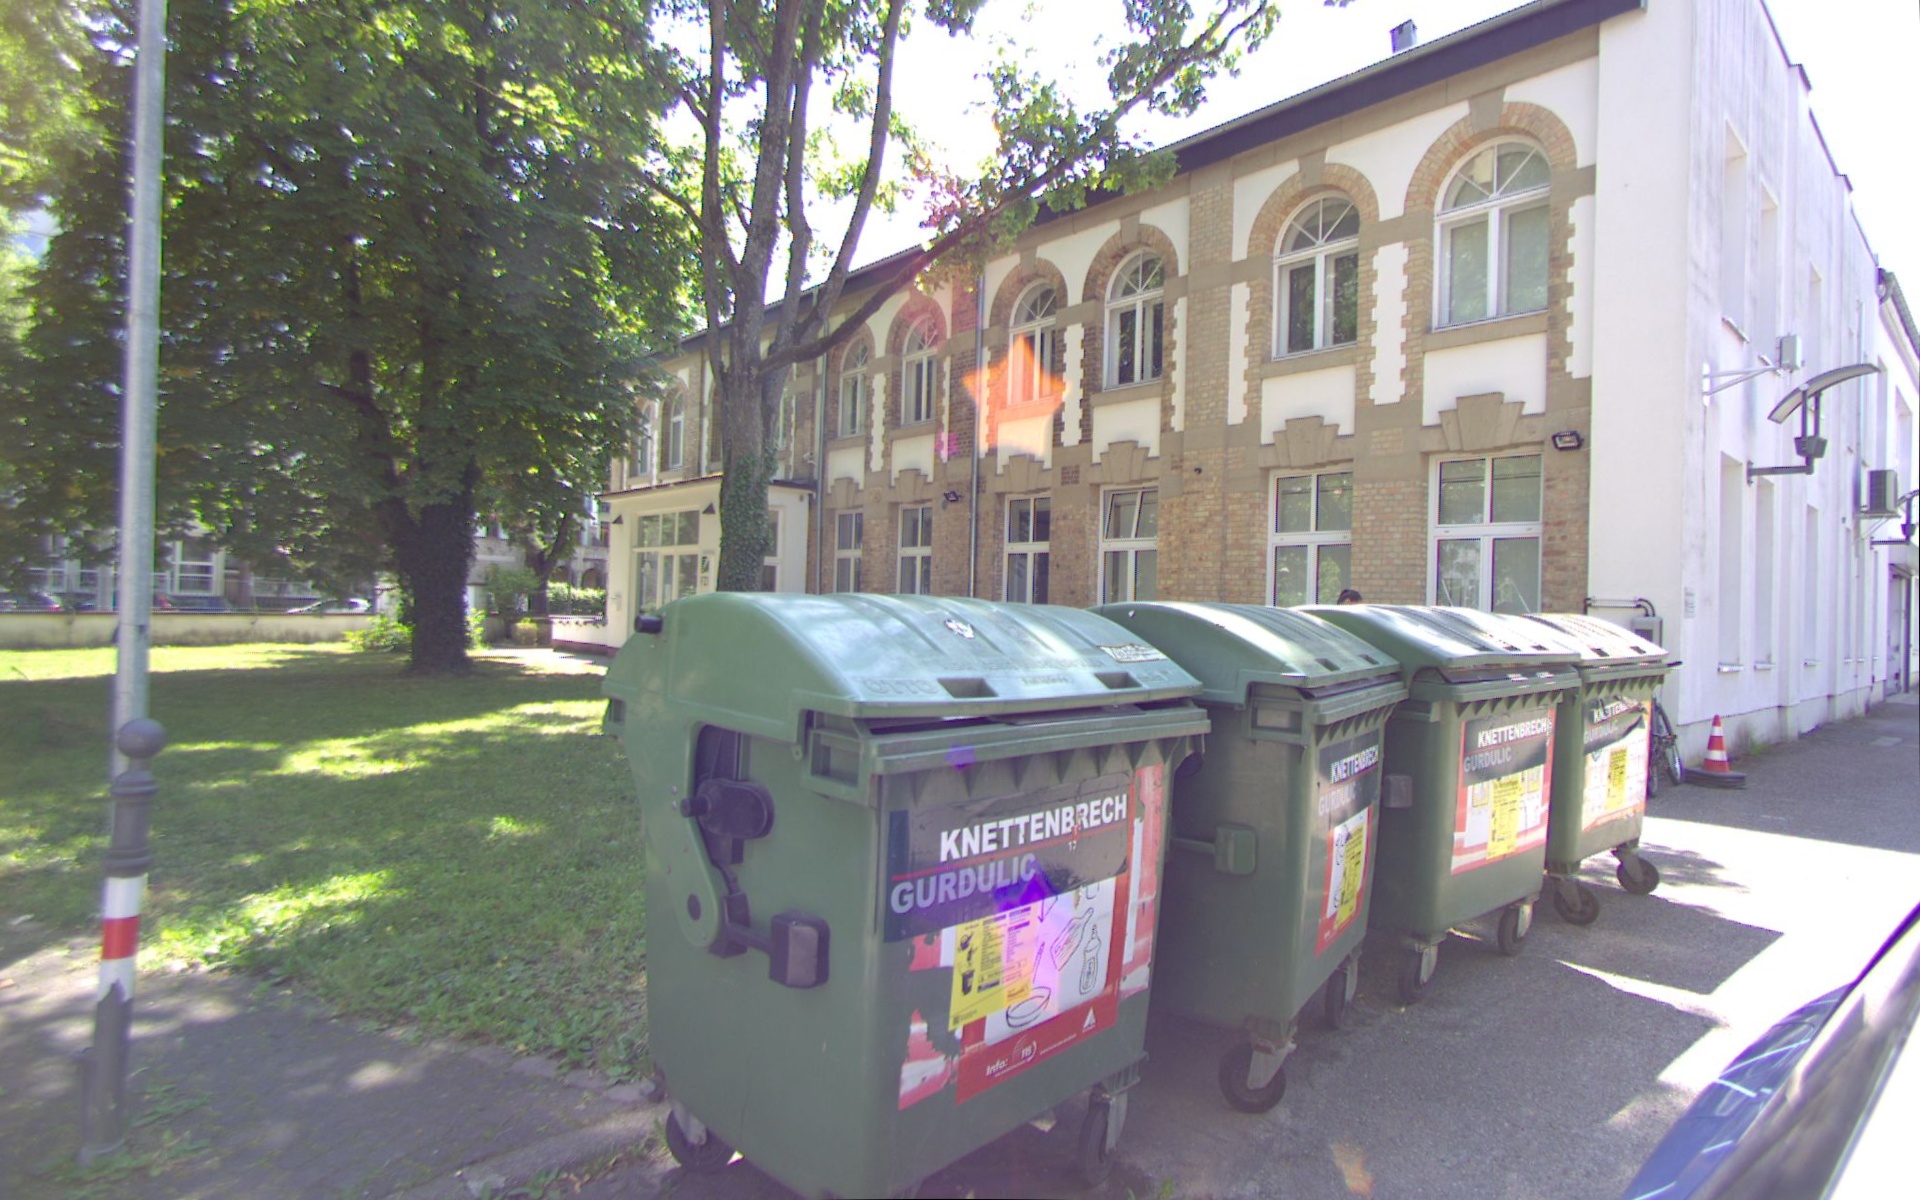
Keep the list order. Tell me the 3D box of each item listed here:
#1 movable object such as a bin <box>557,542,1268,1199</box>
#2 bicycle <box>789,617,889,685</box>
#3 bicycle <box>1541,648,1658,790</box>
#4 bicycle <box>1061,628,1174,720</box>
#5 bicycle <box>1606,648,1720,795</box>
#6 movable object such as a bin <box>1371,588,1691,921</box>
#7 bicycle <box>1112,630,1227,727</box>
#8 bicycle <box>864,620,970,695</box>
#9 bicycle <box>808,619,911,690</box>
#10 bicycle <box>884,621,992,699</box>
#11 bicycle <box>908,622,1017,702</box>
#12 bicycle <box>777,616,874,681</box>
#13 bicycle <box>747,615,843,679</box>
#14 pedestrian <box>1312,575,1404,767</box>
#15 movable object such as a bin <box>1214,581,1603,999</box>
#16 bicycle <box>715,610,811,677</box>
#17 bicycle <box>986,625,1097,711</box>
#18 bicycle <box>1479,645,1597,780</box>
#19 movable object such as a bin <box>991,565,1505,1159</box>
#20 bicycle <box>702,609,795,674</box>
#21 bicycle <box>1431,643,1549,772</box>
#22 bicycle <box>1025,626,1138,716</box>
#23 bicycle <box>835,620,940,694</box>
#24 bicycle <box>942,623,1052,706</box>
[{"bbox_3d":[-0.101,0.647,2.485,1.353,1.476,1.077,1,0,-41],"label":"movable object such as a bin"},{"bbox_3d":[-2.083,0.862,17.618,1.795,1.115,0.405,1,0,-42],"label":"bicycle"},{"bbox_3d":[5.761,1.012,9.077,1.795,1.115,0.405,1,0,-42],"label":"bicycle"},{"bbox_3d":[2.077,0.930,13.206,1.795,1.115,0.405,1,0,-42],"label":"bicycle"},{"bbox_3d":[6.108,0.997,8.757,1.795,1.115,0.405,1,0,-42],"label":"bicycle"},{"bbox_3d":[3.037,0.694,5.371,1.353,1.476,1.077,1,0,-41],"label":"movable object such as a bin"},{"bbox_3d":[2.652,0.943,12.681,1.795,1.115,0.405,1,0,-42],"label":"bicycle"},{"bbox_3d":[-0.650,0.871,15.799,1.795,1.115,0.405,1,0,-42],"label":"bicycle"},{"bbox_3d":[-1.647,0.873,16.778,1.795,1.115,0.405,1,0,-42],"label":"bicycle"},{"bbox_3d":[-0.314,0.878,15.399,1.795,1.115,0.405,1,0,-42],"label":"bicycle"},{"bbox_3d":[0.057,0.886,15.011,1.795,1.115,0.405,1,0,-42],"label":"bicycle"},{"bbox_3d":[-2.398,0.855,18.190,1.795,1.115,0.405,1,0,-42],"label":"bicycle"},{"bbox_3d":[-2.987,0.843,18.456,1.795,1.115,0.405,1,0,-42],"label":"bicycle"},{"bbox_3d":[3.842,0.655,9.772,0.677,1.771,0.552,2,-1,-41],"label":"pedestrian"},{"bbox_3d":[1.973,0.673,4.434,1.353,1.476,1.077,1,0,-41],"label":"movable object such as a bin"},{"bbox_3d":[-3.658,0.785,18.931,1.795,1.115,0.405,-2,2,-42],"label":"bicycle"},{"bbox_3d":[1.157,0.910,14.107,1.795,1.115,0.405,1,0,-42],"label":"bicycle"},{"bbox_3d":[5.445,1.005,9.487,1.795,1.115,0.405,1,0,-42],"label":"bicycle"},{"bbox_3d":[0.972,0.653,3.380,1.353,1.476,1.077,1,0,-41],"label":"movable object such as a bin"},{"bbox_3d":[-4.068,0.776,19.559,1.795,1.115,0.405,-2,2,-42],"label":"bicycle"},{"bbox_3d":[5.175,0.999,9.834,1.795,1.115,0.405,1,0,-42],"label":"bicycle"},{"bbox_3d":[1.655,0.921,13.598,1.795,1.115,0.405,1,0,-42],"label":"bicycle"},{"bbox_3d":[-1.142,0.884,16.207,1.795,1.115,0.405,1,0,-42],"label":"bicycle"},{"bbox_3d":[0.553,0.897,14.590,1.795,1.115,0.405,1,0,-42],"label":"bicycle"}]
